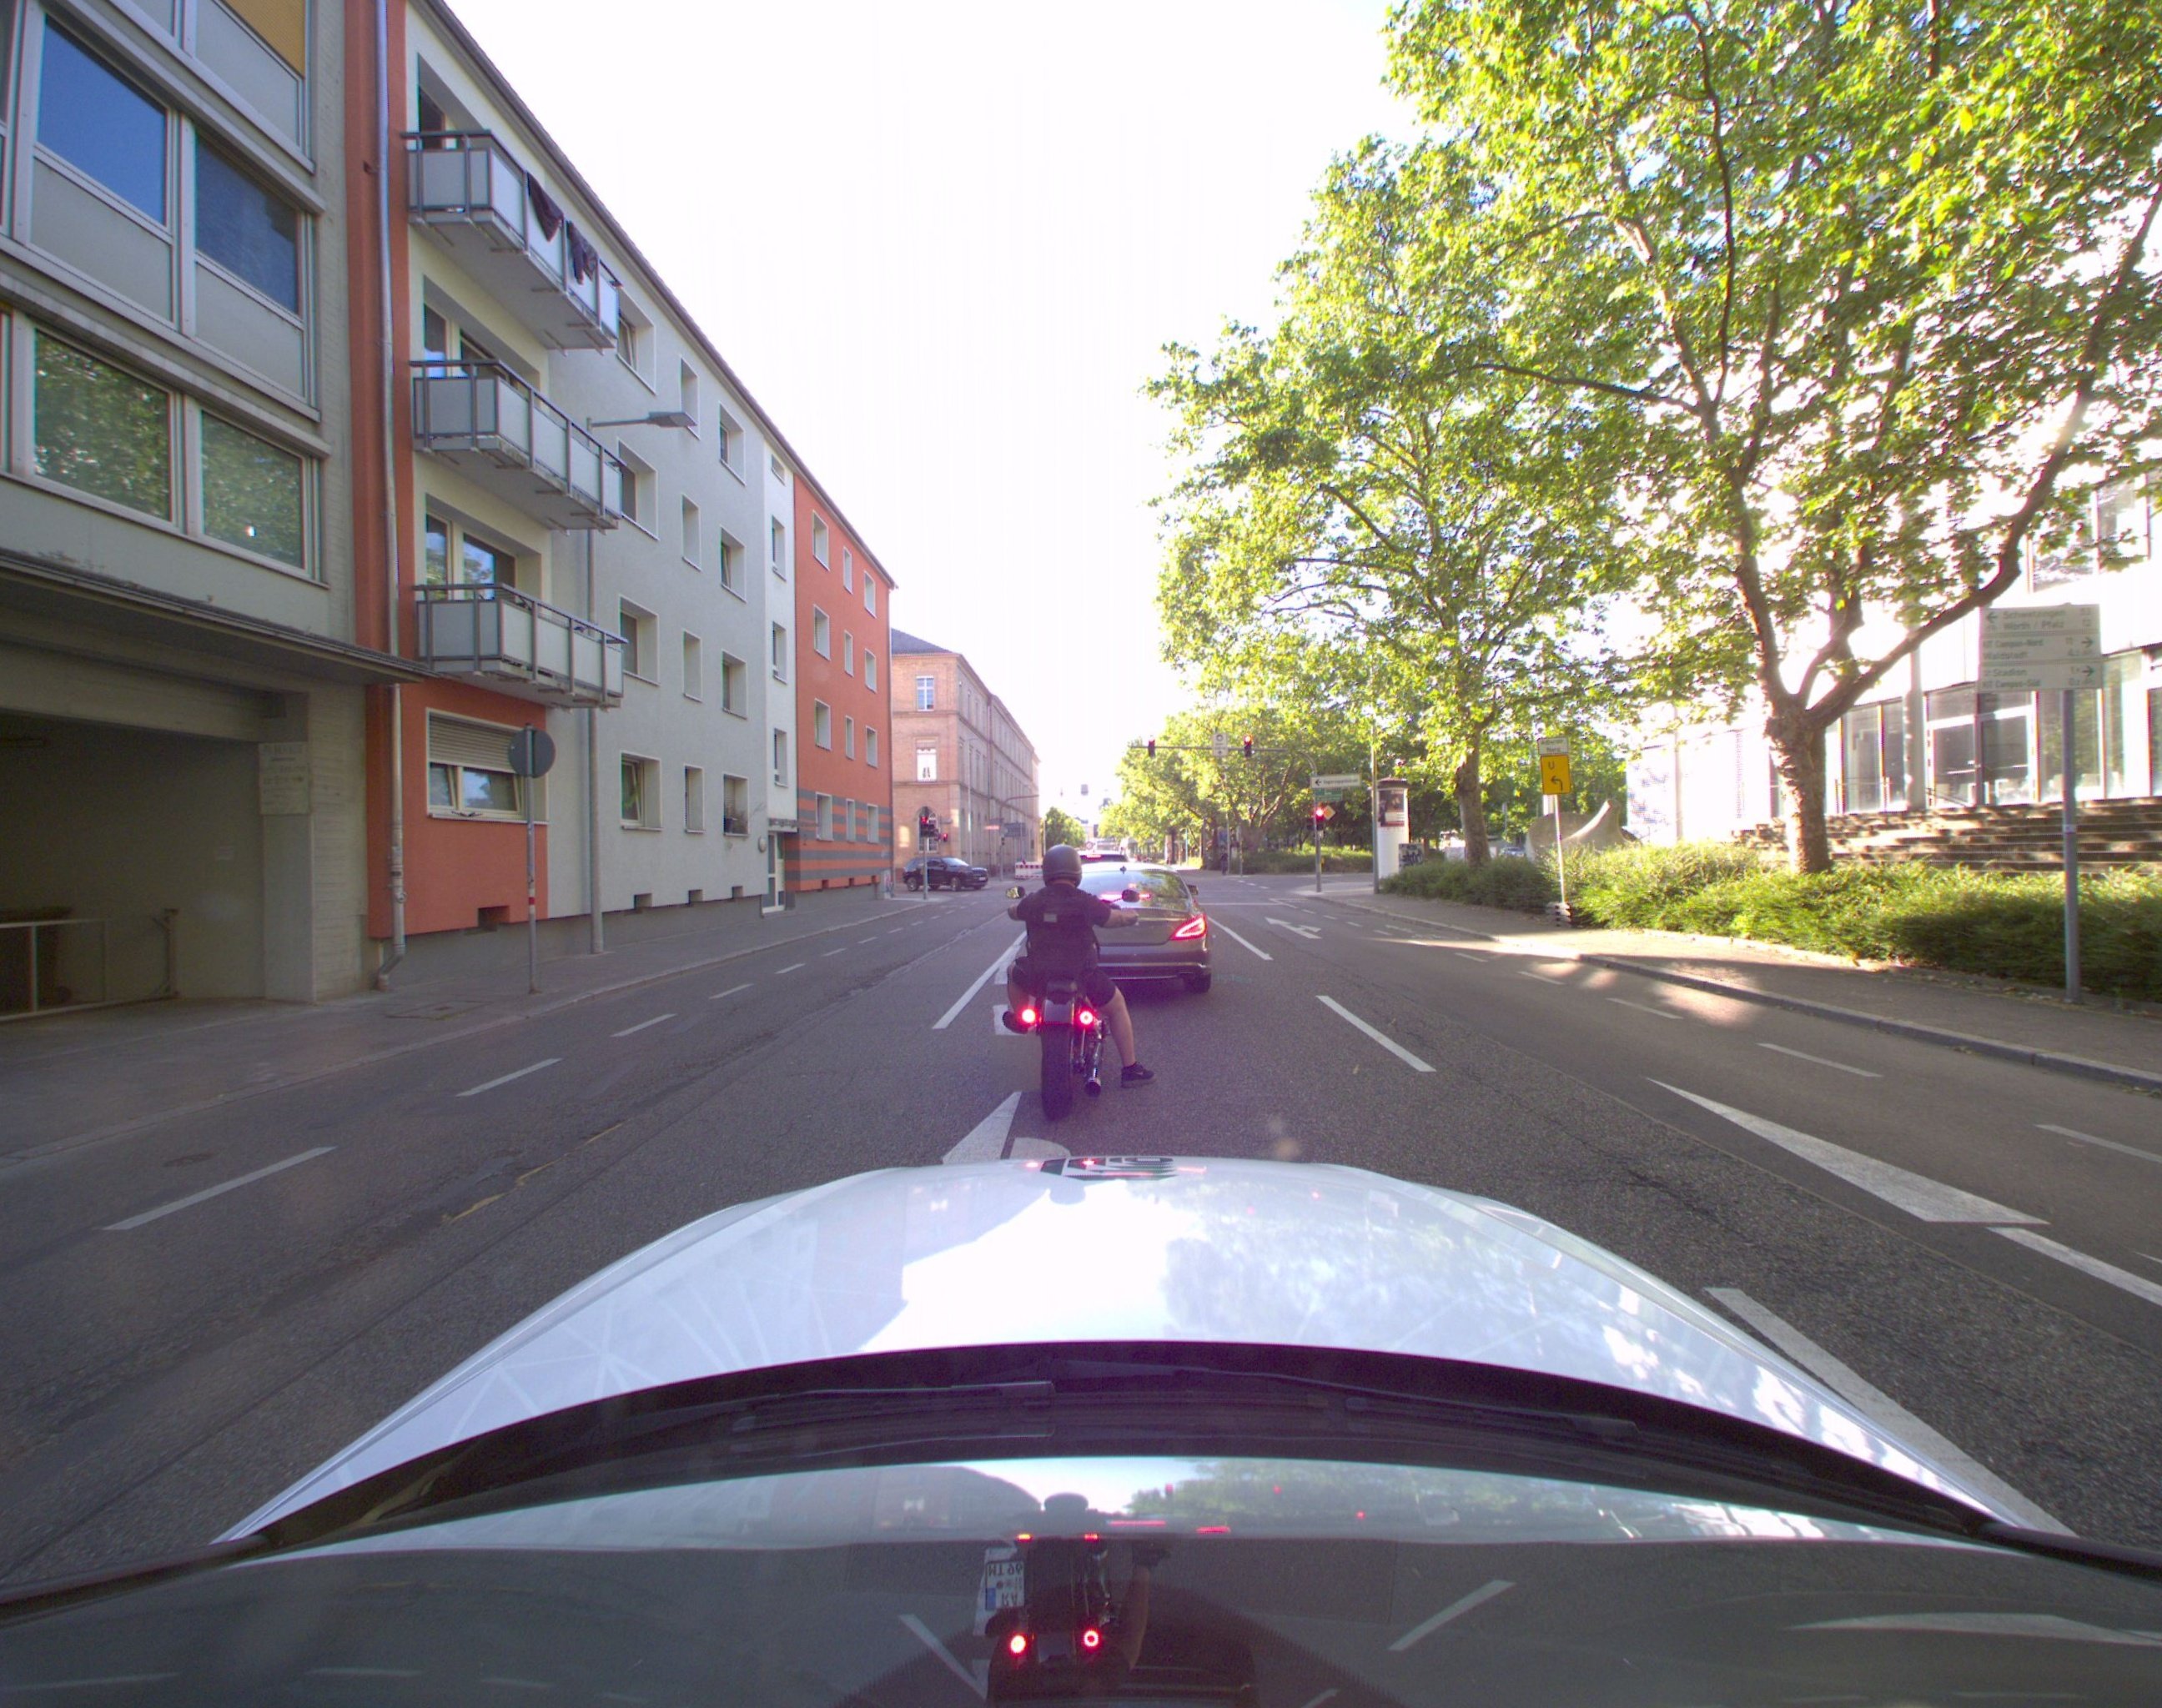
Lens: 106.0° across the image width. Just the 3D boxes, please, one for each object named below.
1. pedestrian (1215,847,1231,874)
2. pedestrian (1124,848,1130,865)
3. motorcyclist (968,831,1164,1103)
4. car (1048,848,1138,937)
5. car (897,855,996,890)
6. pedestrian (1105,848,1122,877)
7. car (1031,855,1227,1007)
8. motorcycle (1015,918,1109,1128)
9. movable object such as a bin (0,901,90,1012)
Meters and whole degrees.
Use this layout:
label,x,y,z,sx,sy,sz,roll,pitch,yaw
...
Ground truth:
label,x,y,z,sx,sy,sz,roll,pitch,yaw
pedestrian,10.099,0.471,57.902,0.753,1.910,0.918,0,-1,-26
pedestrian,5.737,0.281,100.951,0.761,2.051,0.712,0,-1,1
motorcyclist,-0.069,0.675,5.453,1.145,1.598,1.288,0,-1,1
car,0.279,0.695,16.878,1.615,1.594,4.002,-1,0,2
car,-6.384,0.849,38.565,4.330,1.570,1.867,-1,-1,28
pedestrian,2.116,0.543,52.534,0.996,1.826,1.078,0,-1,8
car,0.520,0.742,9.750,1.875,1.449,3.821,0,0,2
motorcycle,-0.073,1.007,5.481,0.511,1.002,2.014,0,-1,2
movable object such as a bin,-11.254,1.066,8.654,0.626,1.100,0.659,0,-1,4
